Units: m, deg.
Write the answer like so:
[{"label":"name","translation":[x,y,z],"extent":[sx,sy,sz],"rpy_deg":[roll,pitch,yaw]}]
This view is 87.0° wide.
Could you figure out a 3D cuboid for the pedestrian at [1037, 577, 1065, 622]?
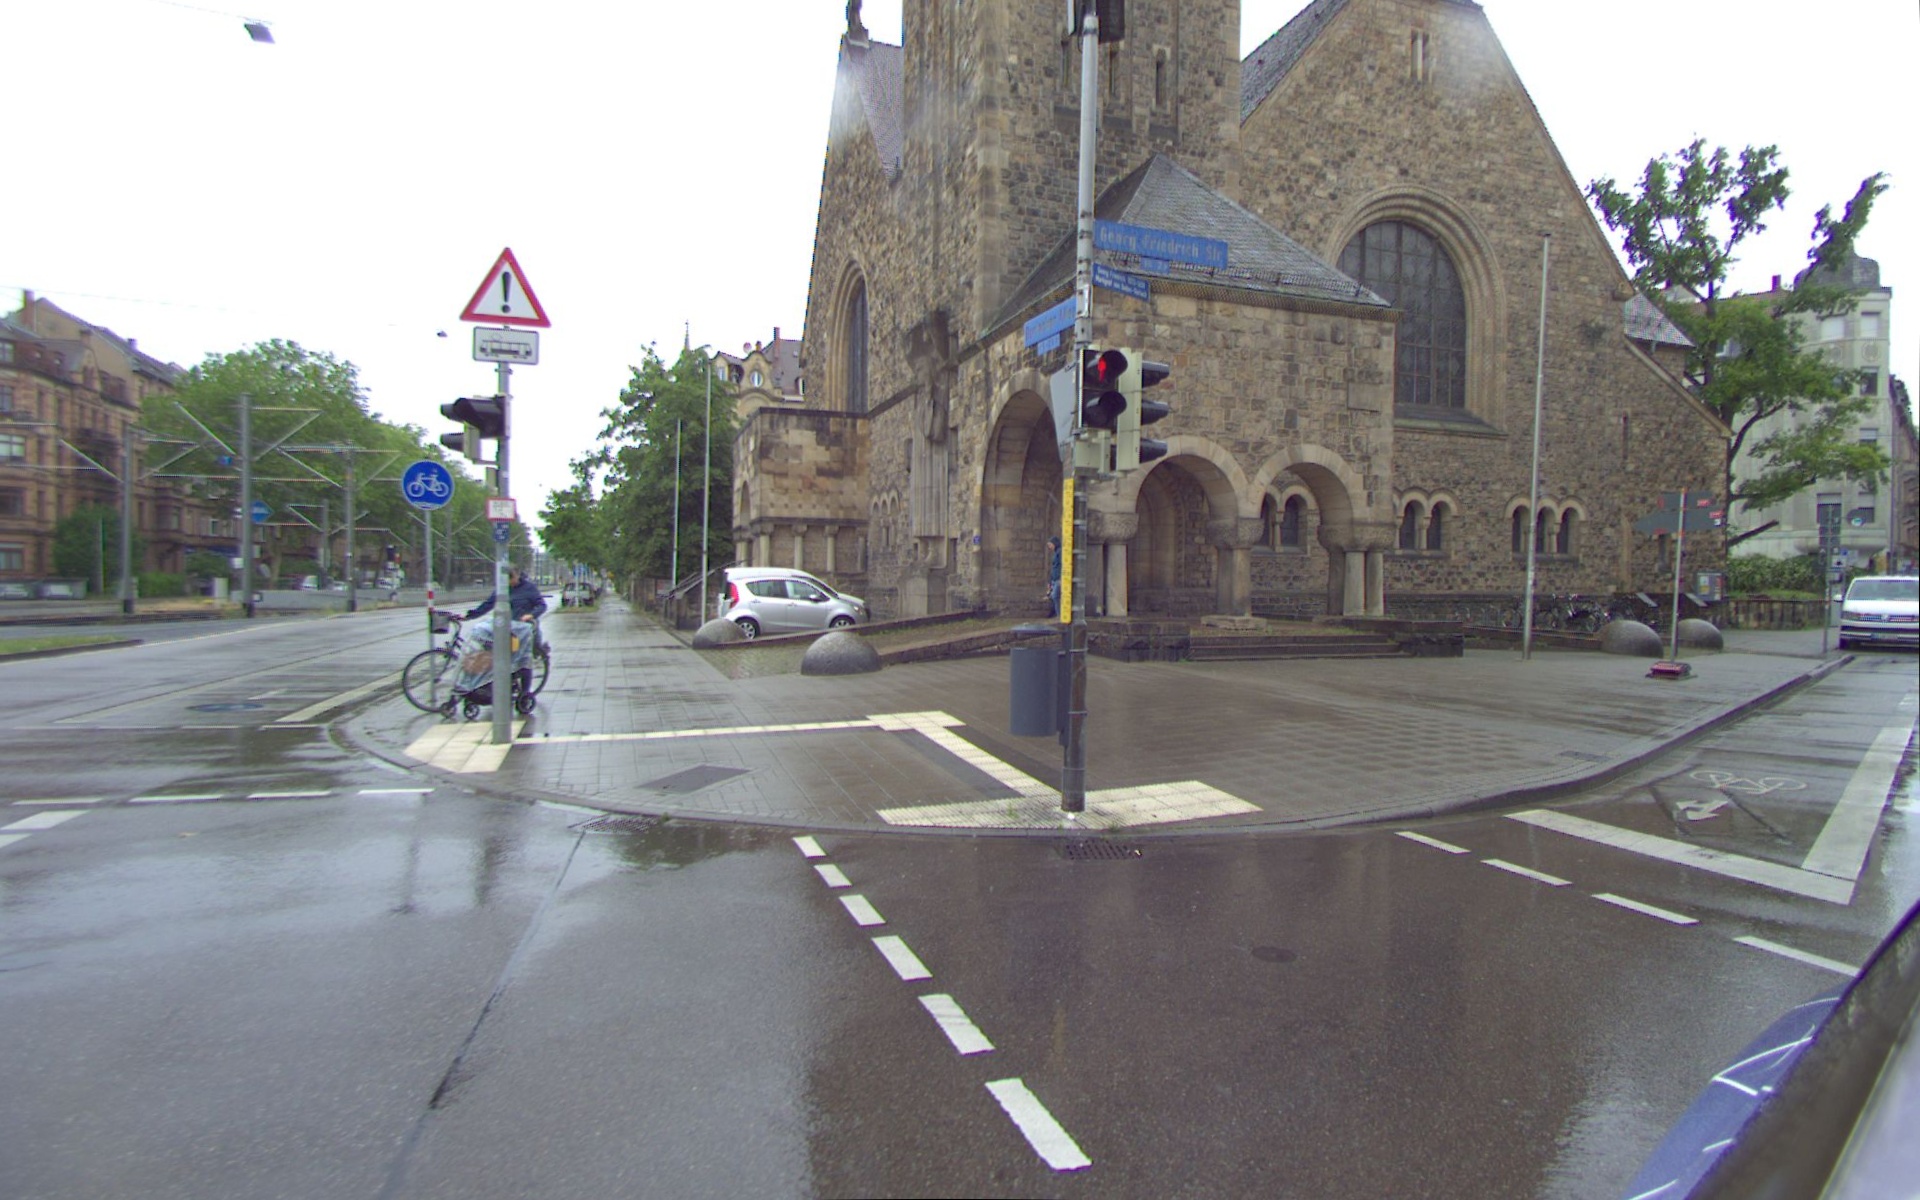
[{"label":"pedestrian","translation":[1.840,-0.017,20.544],"extent":[0.388,0.895,0.457],"rpy_deg":[0,0,-23]}]

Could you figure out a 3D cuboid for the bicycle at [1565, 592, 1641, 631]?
[{"label":"bicycle","translation":[19.188,0.333,30.259],"extent":[0.569,1.073,1.932],"rpy_deg":[1,1,-22]}]

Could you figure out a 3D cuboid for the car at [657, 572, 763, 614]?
[{"label":"car","translation":[-9.957,-0.287,40.253],"extent":[3.916,1.638,2.004],"rpy_deg":[0,1,-19]}]

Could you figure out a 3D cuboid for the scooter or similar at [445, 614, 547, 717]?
[{"label":"scooter or similar","translation":[-5.110,0.698,11.152],"extent":[0.908,1.062,0.514],"rpy_deg":[0,0,-41]}]

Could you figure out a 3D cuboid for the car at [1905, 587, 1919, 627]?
[{"label":"car","translation":[39.430,0.278,40.850],"extent":[3.853,1.569,1.672],"rpy_deg":[0,2,-44]}]

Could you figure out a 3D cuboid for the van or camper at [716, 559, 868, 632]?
[{"label":"van or camper","translation":[-4.672,-0.160,28.064],"extent":[3.848,1.749,1.652],"rpy_deg":[-4,2,-20]}]

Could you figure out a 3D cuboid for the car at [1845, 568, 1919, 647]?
[{"label":"car","translation":[25.333,0.171,27.171],"extent":[5.185,1.946,1.906],"rpy_deg":[0,2,-44]}]

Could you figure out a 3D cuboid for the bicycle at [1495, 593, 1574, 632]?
[{"label":"bicycle","translation":[16.634,0.343,29.365],"extent":[0.565,1.062,2.013],"rpy_deg":[0,1,-26]}]

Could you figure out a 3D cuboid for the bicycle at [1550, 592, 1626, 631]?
[{"label":"bicycle","translation":[18.575,0.332,29.963],"extent":[0.569,1.073,1.932],"rpy_deg":[1,1,-22]}]

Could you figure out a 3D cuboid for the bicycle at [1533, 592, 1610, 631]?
[{"label":"bicycle","translation":[17.912,0.317,29.708],"extent":[0.569,1.073,1.932],"rpy_deg":[1,1,-24]}]

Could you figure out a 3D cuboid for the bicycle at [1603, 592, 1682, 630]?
[{"label":"bicycle","translation":[20.674,0.309,30.707],"extent":[0.593,1.080,1.987],"rpy_deg":[1,1,-21]}]

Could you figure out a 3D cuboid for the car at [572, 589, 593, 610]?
[{"label":"car","translation":[-33.349,-0.057,89.457],"extent":[1.744,1.799,4.009],"rpy_deg":[0,1,-20]}]

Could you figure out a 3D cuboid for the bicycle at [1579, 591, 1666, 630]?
[{"label":"bicycle","translation":[19.920,0.304,30.486],"extent":[0.664,1.073,2.160],"rpy_deg":[1,1,-22]}]

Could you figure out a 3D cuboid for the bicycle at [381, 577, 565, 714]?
[{"label":"bicycle","translation":[-5.662,0.484,11.874],"extent":[0.530,1.485,1.915],"rpy_deg":[1,1,36]}]

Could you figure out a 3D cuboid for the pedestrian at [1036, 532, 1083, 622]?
[{"label":"pedestrian","translation":[1.936,-0.440,19.748],"extent":[0.664,1.724,0.635],"rpy_deg":[0,0,-23]}]

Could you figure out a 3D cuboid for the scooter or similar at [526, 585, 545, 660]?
[{"label":"scooter or similar","translation":[-8.241,0.417,19.670],"extent":[0.280,1.404,1.106],"rpy_deg":[1,0,-21]}]

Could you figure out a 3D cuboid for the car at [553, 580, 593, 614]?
[{"label":"car","translation":[-21.388,-0.199,55.816],"extent":[1.939,1.816,4.008],"rpy_deg":[0,1,-23]}]

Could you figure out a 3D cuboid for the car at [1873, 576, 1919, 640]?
[{"label":"car","translation":[29.937,0.224,31.593],"extent":[4.224,1.869,1.834],"rpy_deg":[0,2,-44]}]

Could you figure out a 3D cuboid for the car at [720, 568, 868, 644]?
[{"label":"car","translation":[-4.080,0.104,24.729],"extent":[3.288,1.593,1.740],"rpy_deg":[-3,2,-17]}]

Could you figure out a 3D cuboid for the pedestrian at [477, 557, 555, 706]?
[{"label":"pedestrian","translation":[-5.194,0.350,11.833],"extent":[0.677,1.684,0.604],"rpy_deg":[1,0,-40]}]

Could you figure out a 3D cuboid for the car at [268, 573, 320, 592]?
[{"label":"car","translation":[-61.109,-1.605,92.916],"extent":[3.758,1.644,1.771],"rpy_deg":[0,1,-45]}]
